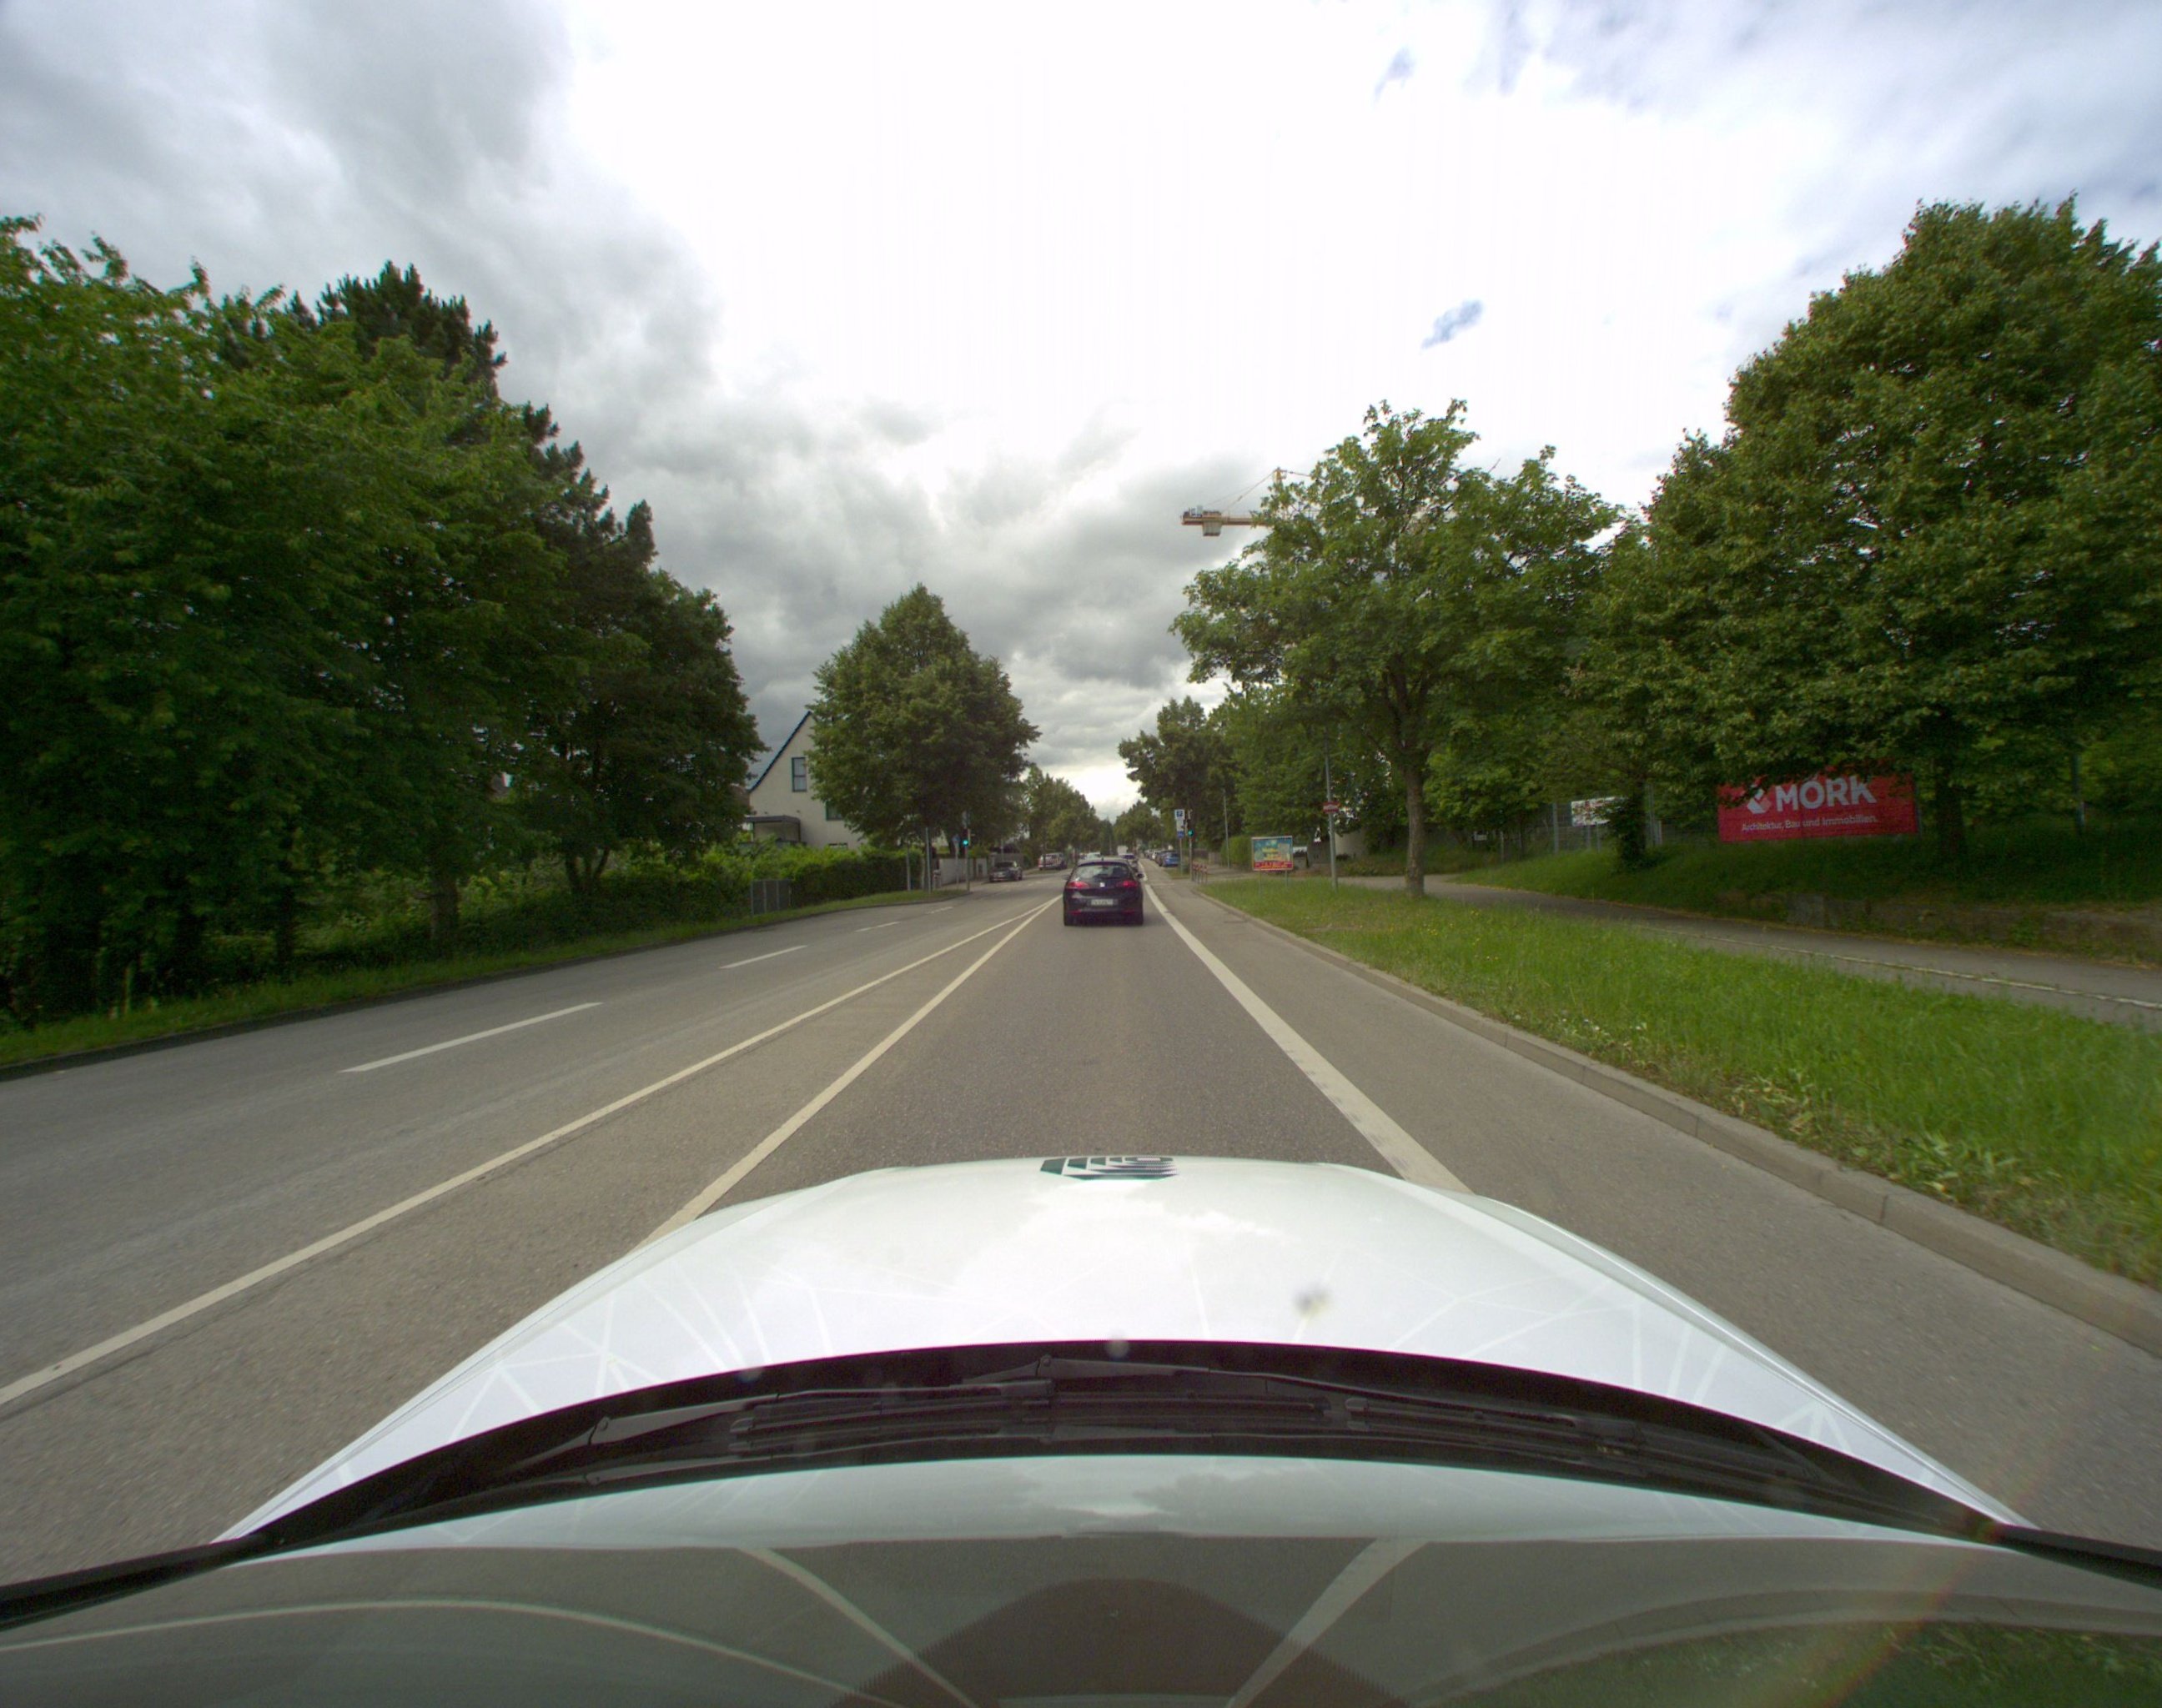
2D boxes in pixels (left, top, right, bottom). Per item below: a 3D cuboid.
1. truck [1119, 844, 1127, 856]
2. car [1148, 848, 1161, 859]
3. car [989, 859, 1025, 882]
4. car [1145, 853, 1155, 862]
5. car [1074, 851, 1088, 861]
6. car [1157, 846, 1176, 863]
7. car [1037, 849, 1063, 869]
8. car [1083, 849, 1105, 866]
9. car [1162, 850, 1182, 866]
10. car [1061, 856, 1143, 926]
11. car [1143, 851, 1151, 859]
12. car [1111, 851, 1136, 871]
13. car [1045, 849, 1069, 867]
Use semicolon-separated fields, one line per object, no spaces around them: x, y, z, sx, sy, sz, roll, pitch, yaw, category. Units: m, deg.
11.790;-1.106;230.877;2.270;3.104;8.516;0;0;3;truck
11.538;-0.046;128.029;1.681;1.564;4.217;-2;0;3;car
-5.071;1.100;56.404;1.711;1.395;4.805;-4;0;3;car
12.881;0.651;152.331;1.681;1.564;4.217;-2;0;3;car
0.060;0.358;142.886;2.091;1.506;5.789;-4;0;3;car
8.906;0.065;84.803;1.681;1.711;4.217;-2;0;3;car
-3.202;0.508;85.667;2.091;1.896;5.789;-4;0;3;car
1.424;0.342;86.425;1.866;1.634;4.347;-4;0;5;car
8.845;0.396;79.559;1.681;1.490;3.357;-2;0;3;car
0.496;0.762;18.665;1.656;1.401;3.813;-1;0;2;car
15.866;0.307;195.537;1.681;1.875;4.217;-2;0;3;car
3.321;0.530;63.317;1.838;1.510;3.816;-1;0;4;car
-2.693;0.463;93.141;2.091;1.896;5.789;-4;0;3;car
